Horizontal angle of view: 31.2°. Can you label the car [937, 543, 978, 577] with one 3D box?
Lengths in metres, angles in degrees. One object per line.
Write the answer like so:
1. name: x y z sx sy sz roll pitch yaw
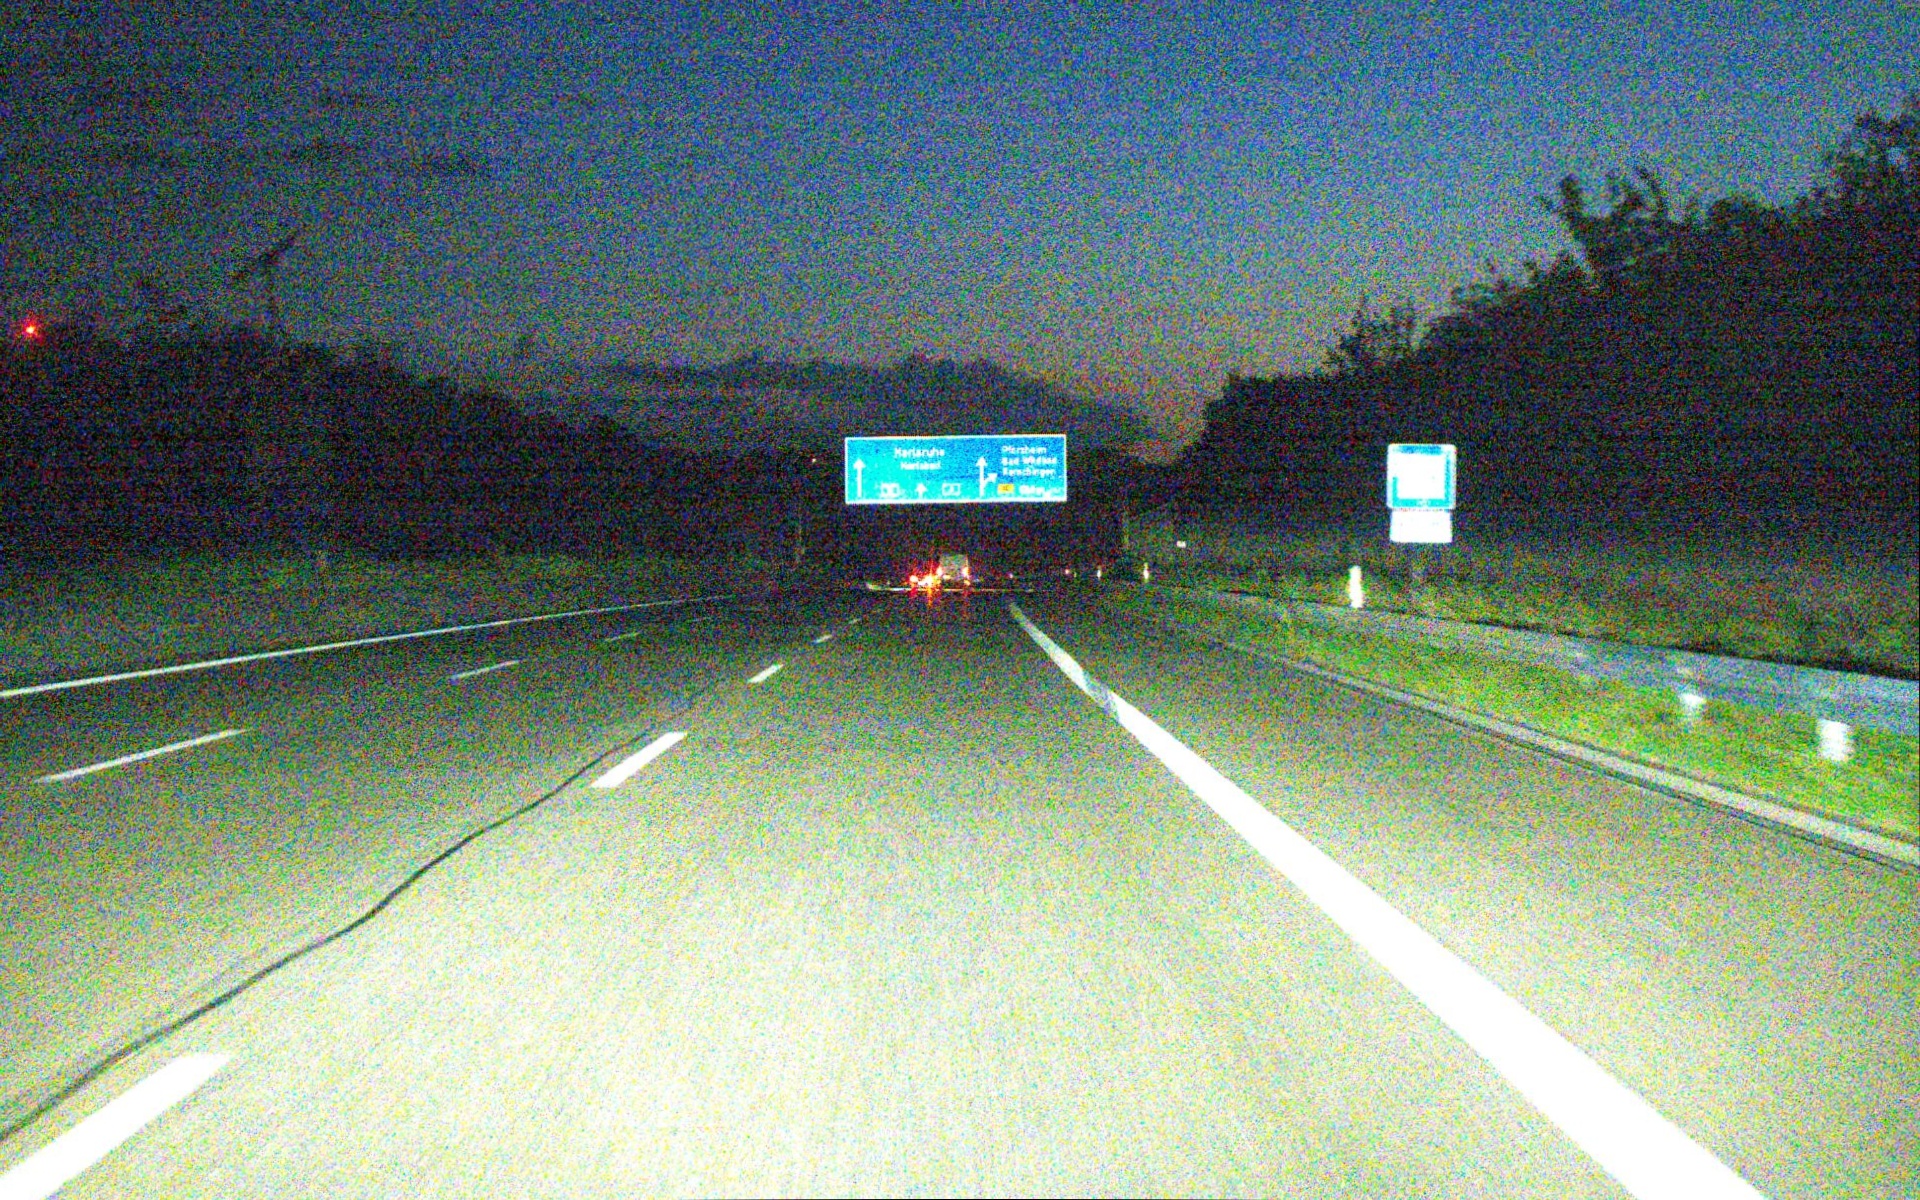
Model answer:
1. car: -0.163 -2.814 242.237 2.511 2.306 4.970 0 0 4
